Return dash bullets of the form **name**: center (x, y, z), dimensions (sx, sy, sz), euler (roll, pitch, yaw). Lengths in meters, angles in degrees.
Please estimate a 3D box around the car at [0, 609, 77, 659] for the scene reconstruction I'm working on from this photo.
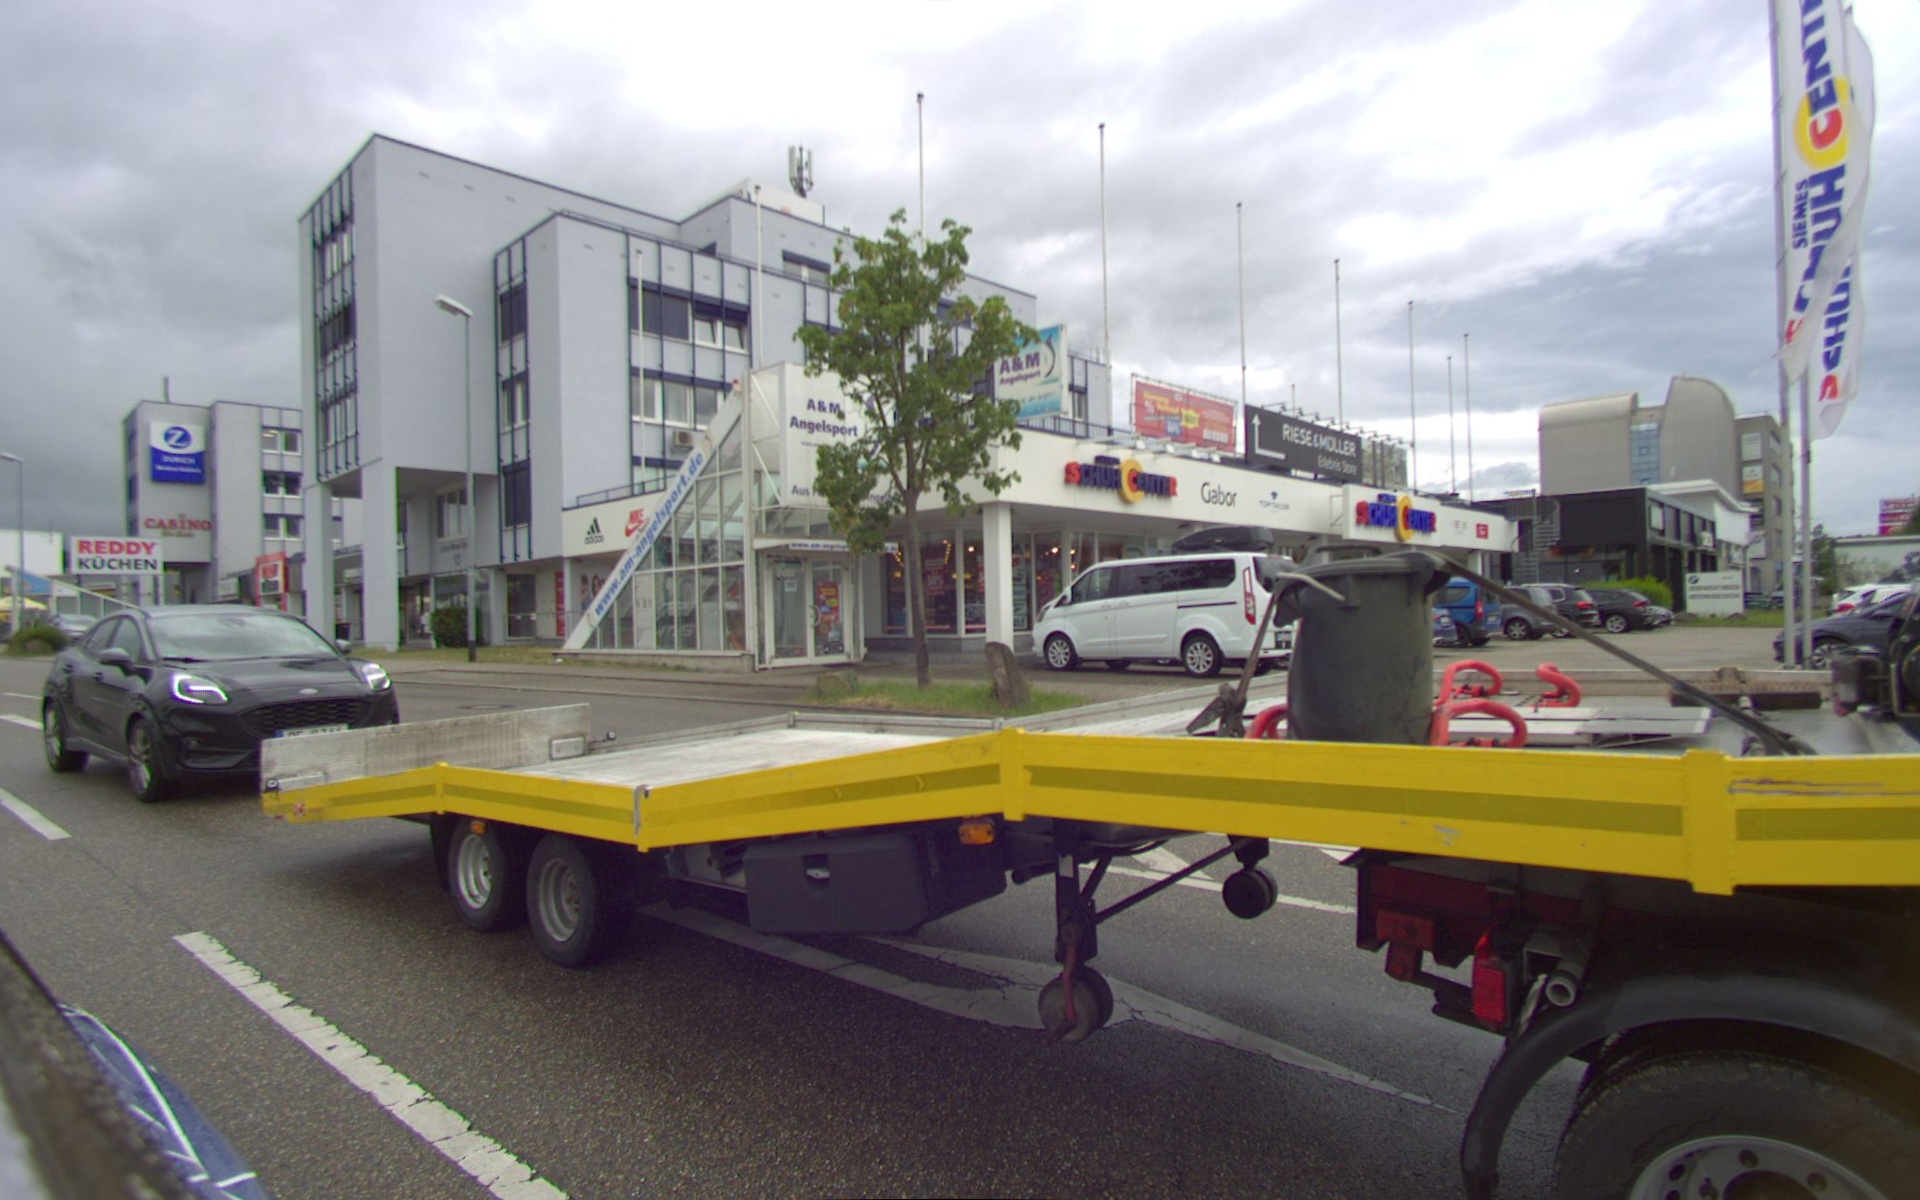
- **car**: center (-33.016, 1.209, 36.045), dimensions (3.998, 1.622, 1.799), euler (-2, 0, 41)

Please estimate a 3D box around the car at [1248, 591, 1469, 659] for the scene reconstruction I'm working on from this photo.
- **car**: center (9.061, 0.545, 23.275), dimensions (4.377, 1.404, 1.797), euler (-1, -1, 44)

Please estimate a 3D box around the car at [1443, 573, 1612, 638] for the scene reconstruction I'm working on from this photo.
- **car**: center (18.086, 0.190, 32.397), dimensions (4.377, 1.920, 1.869), euler (-1, -1, 44)

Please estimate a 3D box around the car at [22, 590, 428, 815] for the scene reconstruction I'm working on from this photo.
- **car**: center (-6.623, 0.740, 8.989), dimensions (3.993, 1.552, 1.792), euler (-1, 0, 37)

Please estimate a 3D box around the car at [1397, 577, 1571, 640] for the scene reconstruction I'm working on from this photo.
- **car**: center (15.924, 0.271, 30.897), dimensions (4.377, 1.777, 1.869), euler (-1, -1, 44)

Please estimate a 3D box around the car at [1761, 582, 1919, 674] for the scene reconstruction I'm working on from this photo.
- **car**: center (15.416, 0.422, 15.948), dimensions (1.795, 1.404, 4.132), euler (0, -1, -42)

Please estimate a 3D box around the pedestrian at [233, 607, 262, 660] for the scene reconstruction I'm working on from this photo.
- **pedestrian**: center (-24.118, 1.129, 34.264), dimensions (0.634, 1.756, 0.590), euler (-1, 0, -17)

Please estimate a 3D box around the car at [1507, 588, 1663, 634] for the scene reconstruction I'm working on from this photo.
- **car**: center (21.936, 0.382, 35.654), dimensions (4.377, 1.509, 1.869), euler (-1, -1, 44)

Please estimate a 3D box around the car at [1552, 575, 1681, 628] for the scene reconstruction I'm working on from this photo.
- **car**: center (26.469, 0.063, 40.885), dimensions (1.882, 2.029, 4.004), euler (0, -1, -43)

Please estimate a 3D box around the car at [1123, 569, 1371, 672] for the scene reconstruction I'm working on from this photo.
- **car**: center (5.586, 0.388, 20.079), dimensions (4.377, 1.834, 1.869), euler (-1, -1, 44)

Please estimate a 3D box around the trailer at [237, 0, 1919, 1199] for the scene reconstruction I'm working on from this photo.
- **trailer**: center (-0.438, 0.154, 4.286), dimensions (7.963, 2.493, 2.280), euler (0, -1, 39)

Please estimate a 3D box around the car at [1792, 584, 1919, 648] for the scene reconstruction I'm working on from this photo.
- **car**: center (21.581, 0.350, 22.893), dimensions (4.128, 1.404, 1.872), euler (-1, -1, 44)

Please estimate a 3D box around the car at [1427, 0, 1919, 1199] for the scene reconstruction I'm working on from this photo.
- **car**: center (3.447, 0.094, 1.054), dimensions (5.010, 2.493, 2.217), euler (0, -1, 39)

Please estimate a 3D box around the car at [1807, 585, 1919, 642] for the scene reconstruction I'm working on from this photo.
- **car**: center (24.275, 0.338, 25.689), dimensions (4.128, 1.404, 1.797), euler (-1, -1, 44)

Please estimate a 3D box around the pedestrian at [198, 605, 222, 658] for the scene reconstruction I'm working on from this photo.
- **pedestrian**: center (-24.598, 1.019, 33.186), dimensions (0.519, 1.720, 0.543), euler (-1, 0, 43)

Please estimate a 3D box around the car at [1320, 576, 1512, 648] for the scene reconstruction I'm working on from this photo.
- **car**: center (12.295, 0.324, 27.463), dimensions (4.377, 1.777, 1.869), euler (-1, -1, 44)

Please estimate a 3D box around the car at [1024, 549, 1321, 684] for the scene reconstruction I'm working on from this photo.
- **car**: center (3.546, 0.274, 17.619), dimensions (1.970, 2.029, 4.791), euler (1, -1, -44)
